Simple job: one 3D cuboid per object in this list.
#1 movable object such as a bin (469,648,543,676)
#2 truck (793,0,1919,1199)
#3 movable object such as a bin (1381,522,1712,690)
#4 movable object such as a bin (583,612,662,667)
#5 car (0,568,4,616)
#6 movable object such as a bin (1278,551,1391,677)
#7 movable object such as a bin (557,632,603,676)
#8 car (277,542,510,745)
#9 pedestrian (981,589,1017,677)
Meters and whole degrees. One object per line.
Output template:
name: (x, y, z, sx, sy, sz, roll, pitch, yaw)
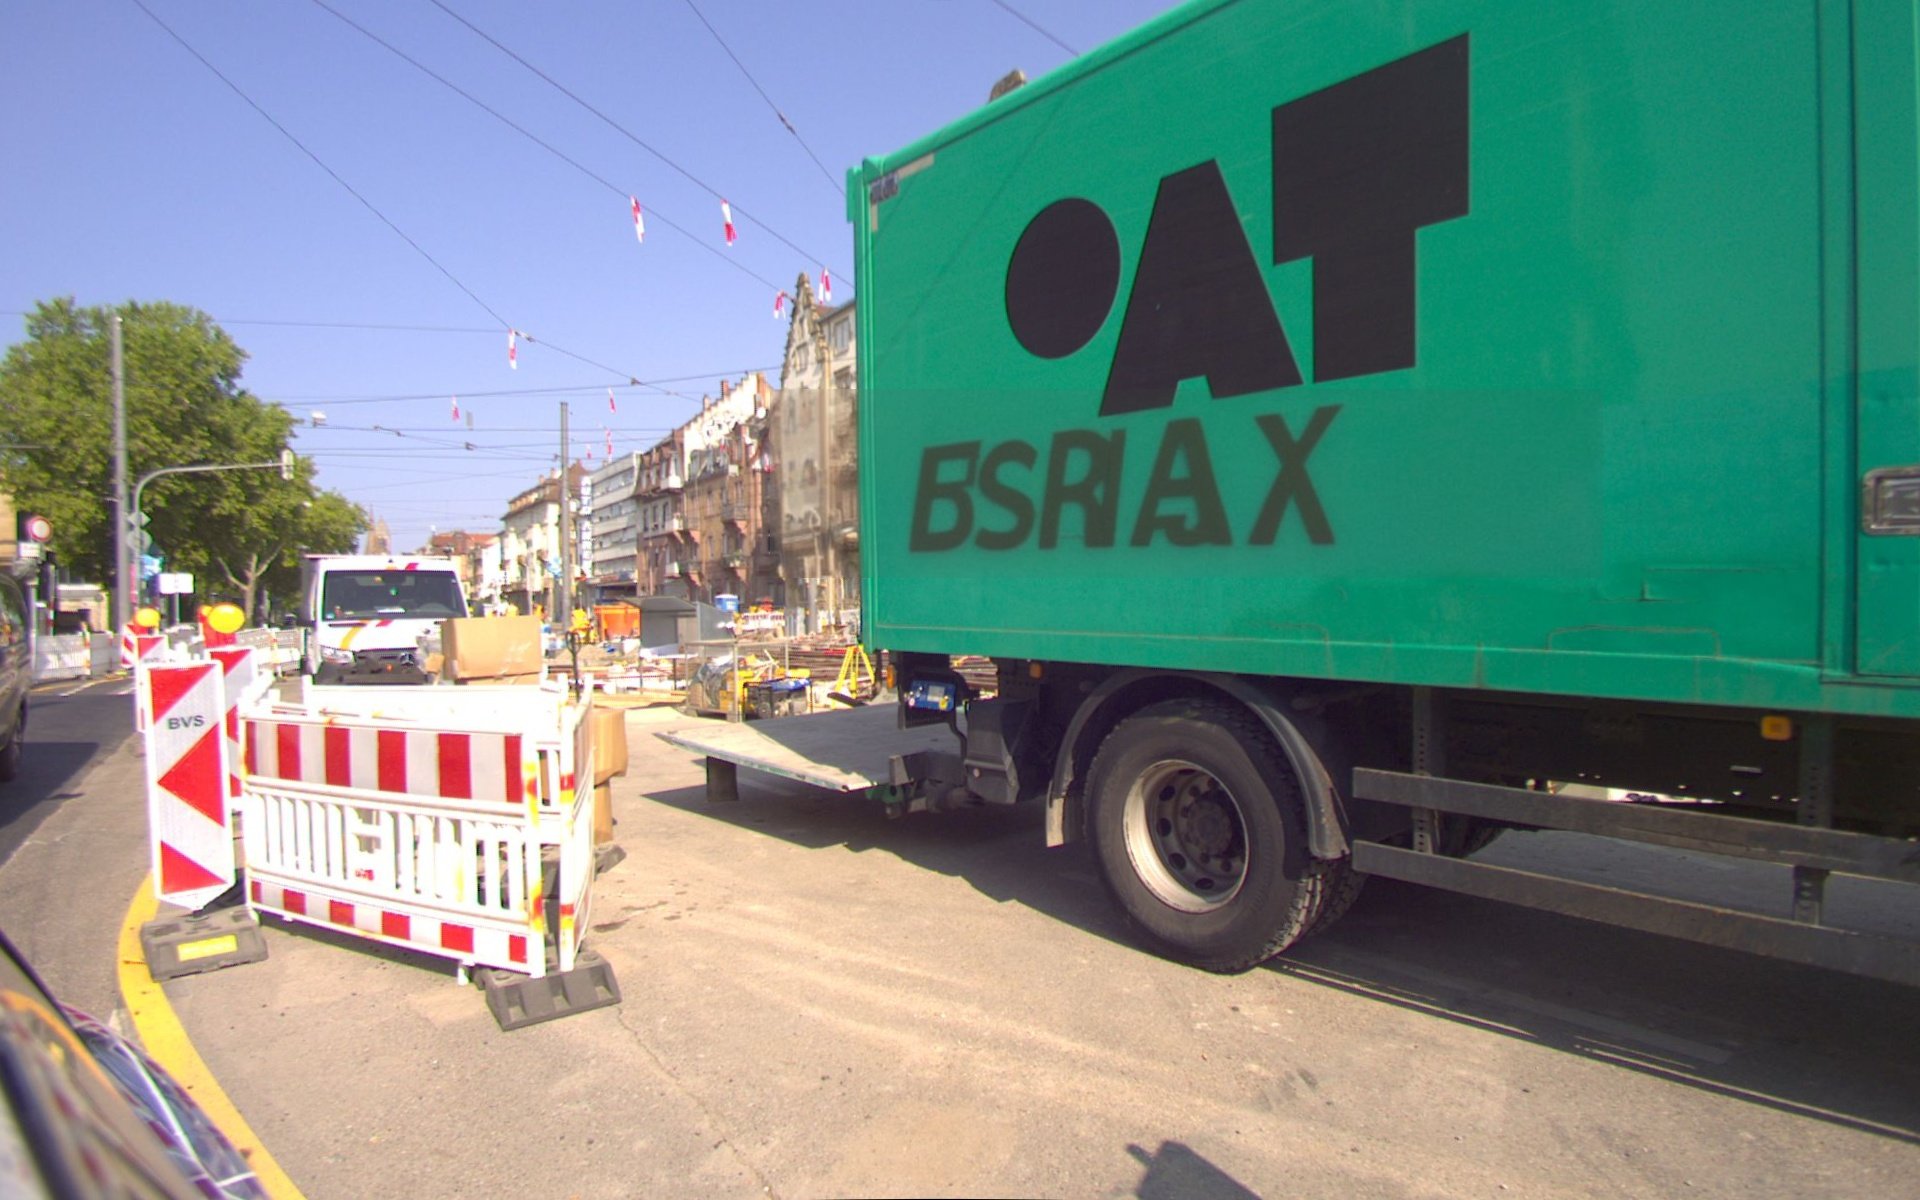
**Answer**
movable object such as a bin: (-12.280, 1.682, 27.395, 1.699, 0.719, 0.718, 0, -1, 0)
truck: (3.156, -0.534, 3.203, 8.422, 3.942, 2.761, -3, -1, 45)
movable object such as a bin: (17.226, 0.179, 30.018, 7.254, 4.380, 4.985, 0, 0, -20)
movable object such as a bin: (-10.369, 1.181, 30.976, 1.578, 1.570, 3.296, 0, -1, -32)
car: (-7.453, 0.602, 6.215, 1.824, 1.900, 4.187, 5, -4, -38)
movable object such as a bin: (9.449, 0.374, 25.763, 2.430, 2.856, 4.786, -1, -1, 19)
movable object such as a bin: (-11.249, 1.574, 29.933, 0.874, 1.220, 2.219, 0, -1, -32)
car: (-9.052, 0.593, 15.721, 2.178, 2.443, 7.215, 1, -1, -37)
pedestrian: (0.865, 0.736, 22.587, 0.712, 1.927, 0.789, 0, -1, -4)
